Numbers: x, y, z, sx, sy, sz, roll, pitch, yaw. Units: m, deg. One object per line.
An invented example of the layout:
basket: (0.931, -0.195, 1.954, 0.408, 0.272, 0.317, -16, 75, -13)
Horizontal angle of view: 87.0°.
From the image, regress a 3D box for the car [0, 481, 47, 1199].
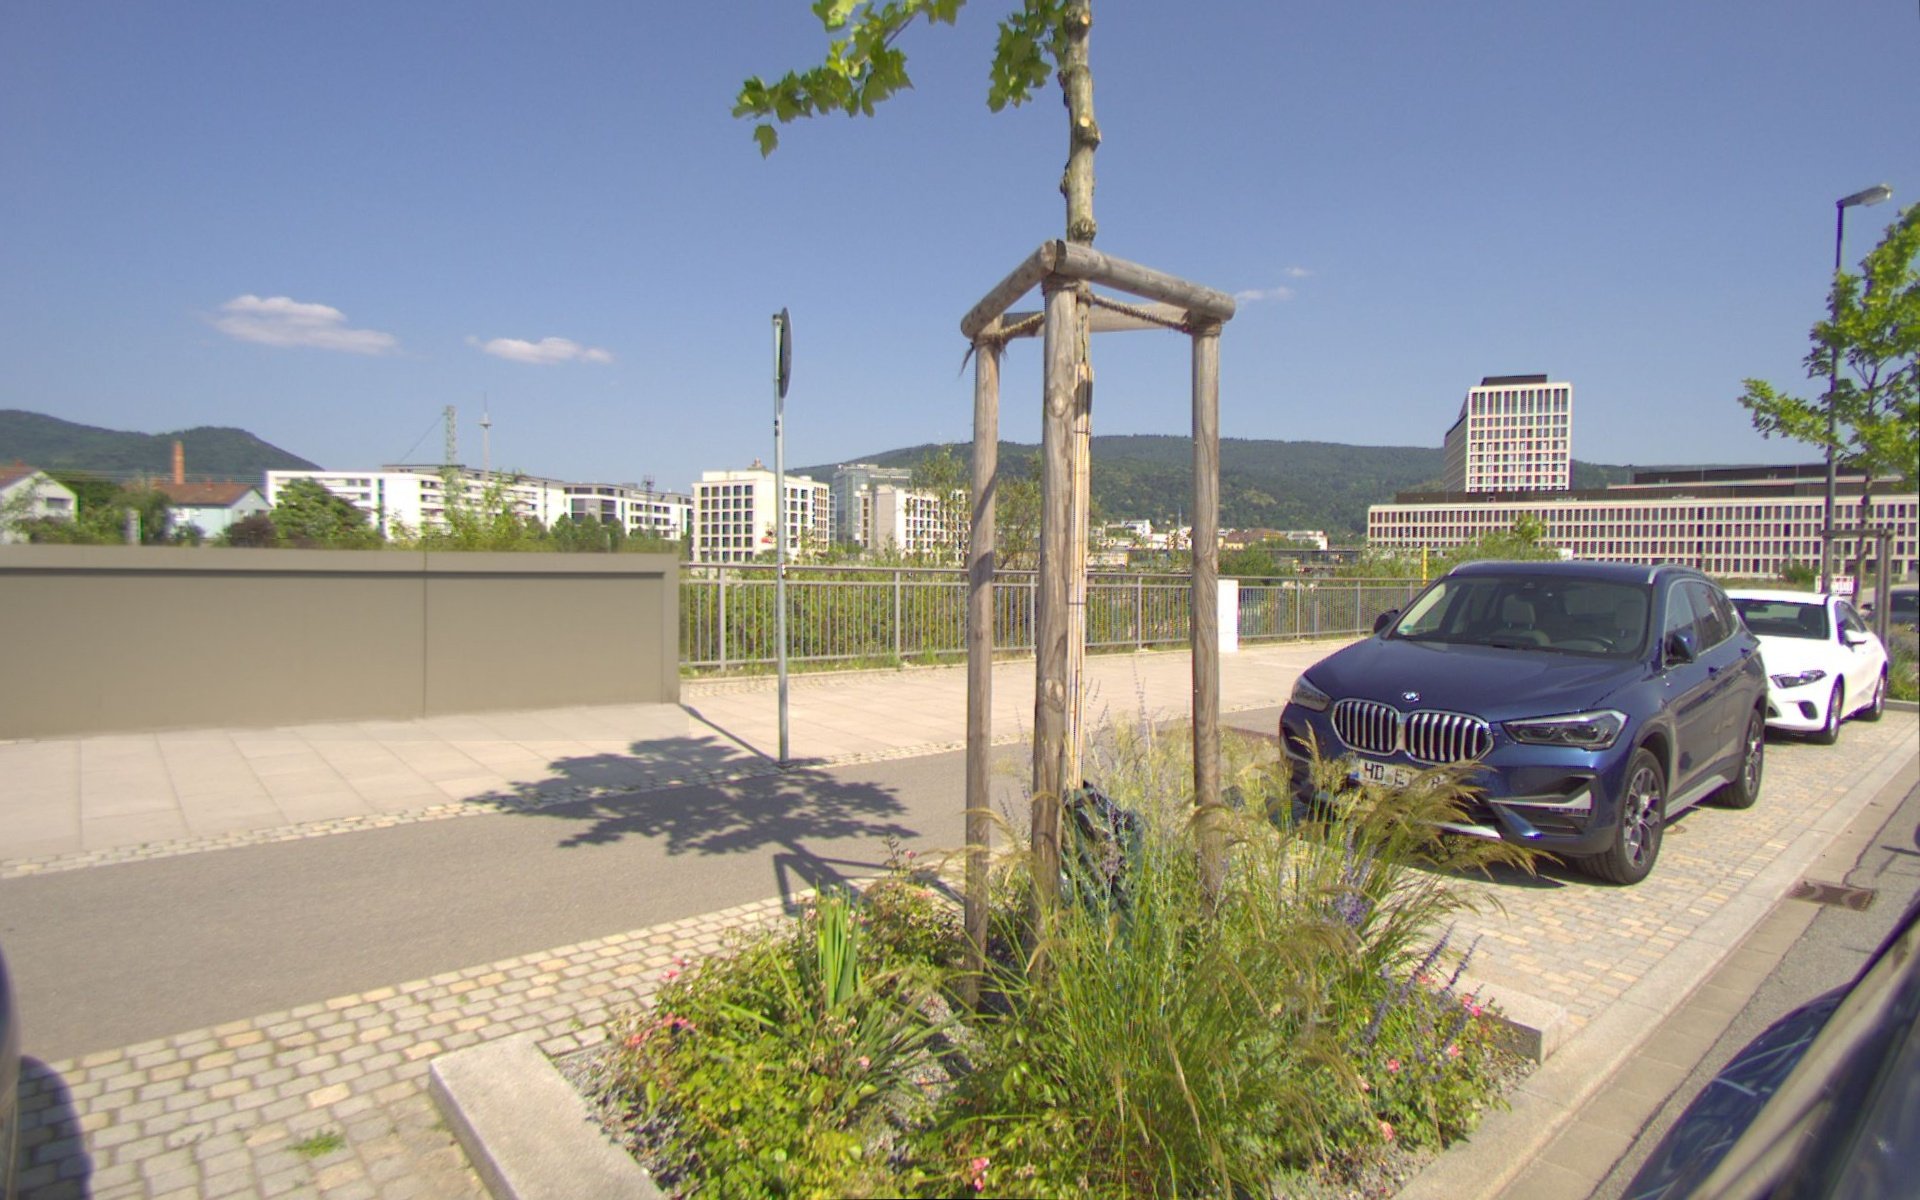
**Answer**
car: (-2.827, 0.607, 0.496, 3.485, 1.574, 1.585, 0, 4, -41)

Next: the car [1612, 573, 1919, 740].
car: (8.883, 0.459, 11.043, 4.194, 1.390, 1.711, -1, 5, -39)

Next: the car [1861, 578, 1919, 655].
car: (20.258, 0.322, 21.015, 3.849, 1.449, 1.808, -1, 5, -41)

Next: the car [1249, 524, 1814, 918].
car: (3.819, 0.436, 6.434, 4.197, 1.703, 1.807, -1, 4, -41)
